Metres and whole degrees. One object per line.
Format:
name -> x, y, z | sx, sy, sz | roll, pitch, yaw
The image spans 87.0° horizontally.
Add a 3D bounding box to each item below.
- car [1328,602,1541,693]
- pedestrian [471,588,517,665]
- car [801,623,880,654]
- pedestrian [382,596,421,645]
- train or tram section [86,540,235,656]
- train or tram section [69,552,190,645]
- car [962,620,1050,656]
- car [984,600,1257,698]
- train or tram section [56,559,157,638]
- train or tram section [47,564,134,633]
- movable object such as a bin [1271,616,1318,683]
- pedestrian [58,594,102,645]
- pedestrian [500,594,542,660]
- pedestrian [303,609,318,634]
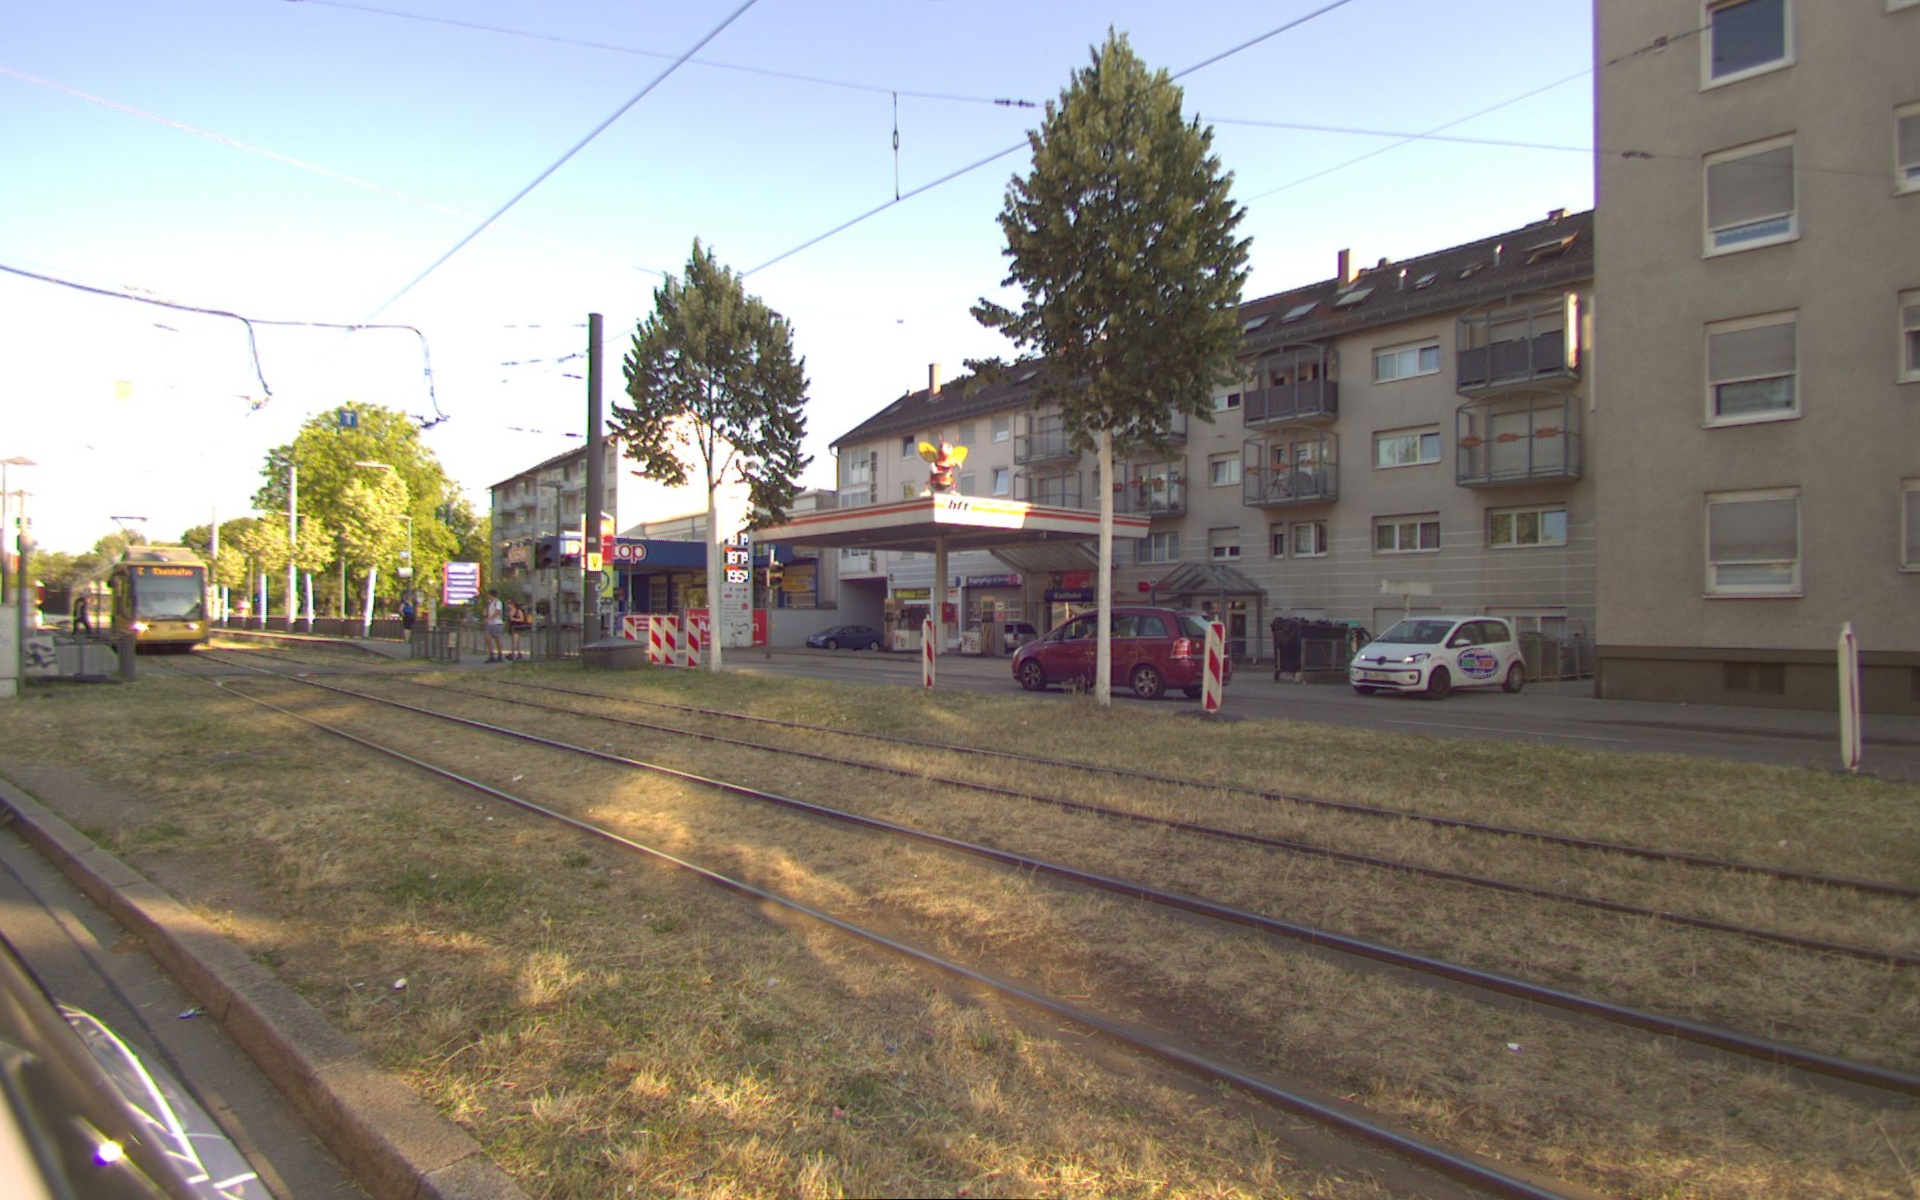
car -> 8.857, 0.865, 18.836 | 3.764, 1.523, 1.823 | 2, -2, -32
pedestrian -> -12.131, 0.684, 26.350 | 0.756, 1.947, 0.848 | -1, -2, 44
car -> -6.305, 2.007, 53.468 | 3.747, 1.535, 1.821 | 1, -2, -40
pedestrian -> -19.514, 0.696, 35.360 | 0.923, 1.666, 0.927 | -2, 1, -43
train or tram section -> -28.367, 0.001, 35.663 | 3.000, 3.544, 10.104 | 3, -2, -44
train or tram section -> -35.381, -0.009, 42.937 | 3.000, 3.544, 10.104 | 3, -2, -44
car -> 2.034, 1.690, 45.690 | 1.790, 1.535, 3.834 | 1, -2, -42
car -> 2.825, 0.819, 18.830 | 1.790, 1.572, 4.939 | 2, -2, -43
train or tram section -> -42.431, -0.015, 50.181 | 3.000, 3.544, 10.104 | 3, -2, -44
train or tram section -> -49.465, -0.035, 57.453 | 3.000, 3.544, 10.104 | 3, -2, -44
movable object such as a bin -> 7.290, 1.063, 22.047 | 0.655, 1.411, 0.749 | 2, -2, -45
pedestrian -> -27.403, 0.590, 31.531 | 0.788, 1.562, 0.907 | -1, 0, 38
pedestrian -> -11.920, 0.728, 27.487 | 0.860, 1.760, 0.744 | -1, -2, 44
pedestrian -> -48.804, 1.604, 76.038 | 0.744, 1.896, 1.001 | -2, 1, -44
